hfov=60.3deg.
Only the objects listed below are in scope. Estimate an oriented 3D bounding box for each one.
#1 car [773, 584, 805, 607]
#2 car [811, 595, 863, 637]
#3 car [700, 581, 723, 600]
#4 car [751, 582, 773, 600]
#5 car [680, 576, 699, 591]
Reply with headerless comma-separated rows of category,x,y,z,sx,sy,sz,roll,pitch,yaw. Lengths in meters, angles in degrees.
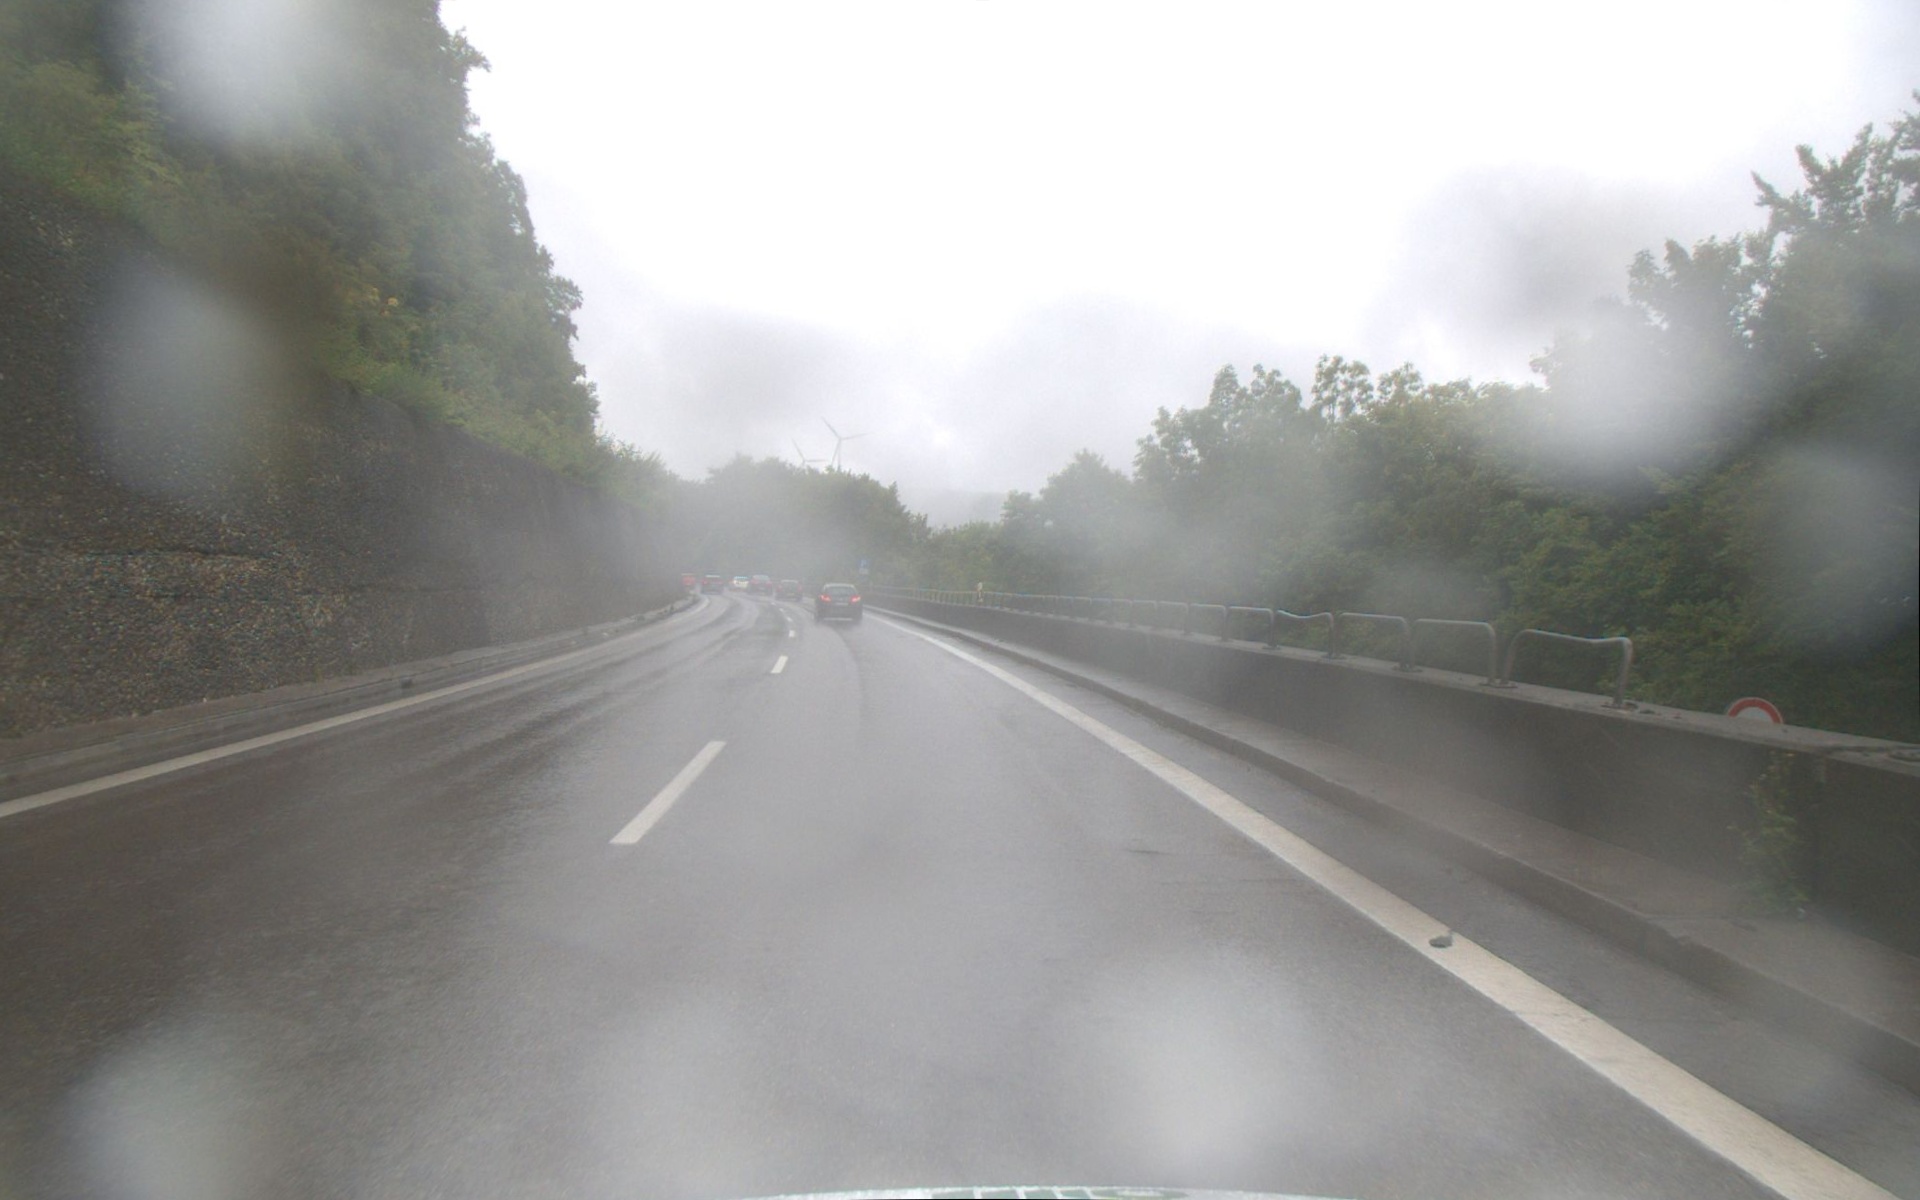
car,-12.126,-0.351,117.375,1.870,1.525,3.989,1,0,-11
car,-4.867,0.591,64.979,1.867,1.525,3.994,1,0,-7
car,-21.422,-0.842,142.909,1.868,1.525,3.993,1,0,-8
car,-17.446,-0.777,145.576,1.868,1.525,3.993,1,0,-8
car,-28.037,-1.686,171.438,1.869,1.525,3.991,1,0,-10
